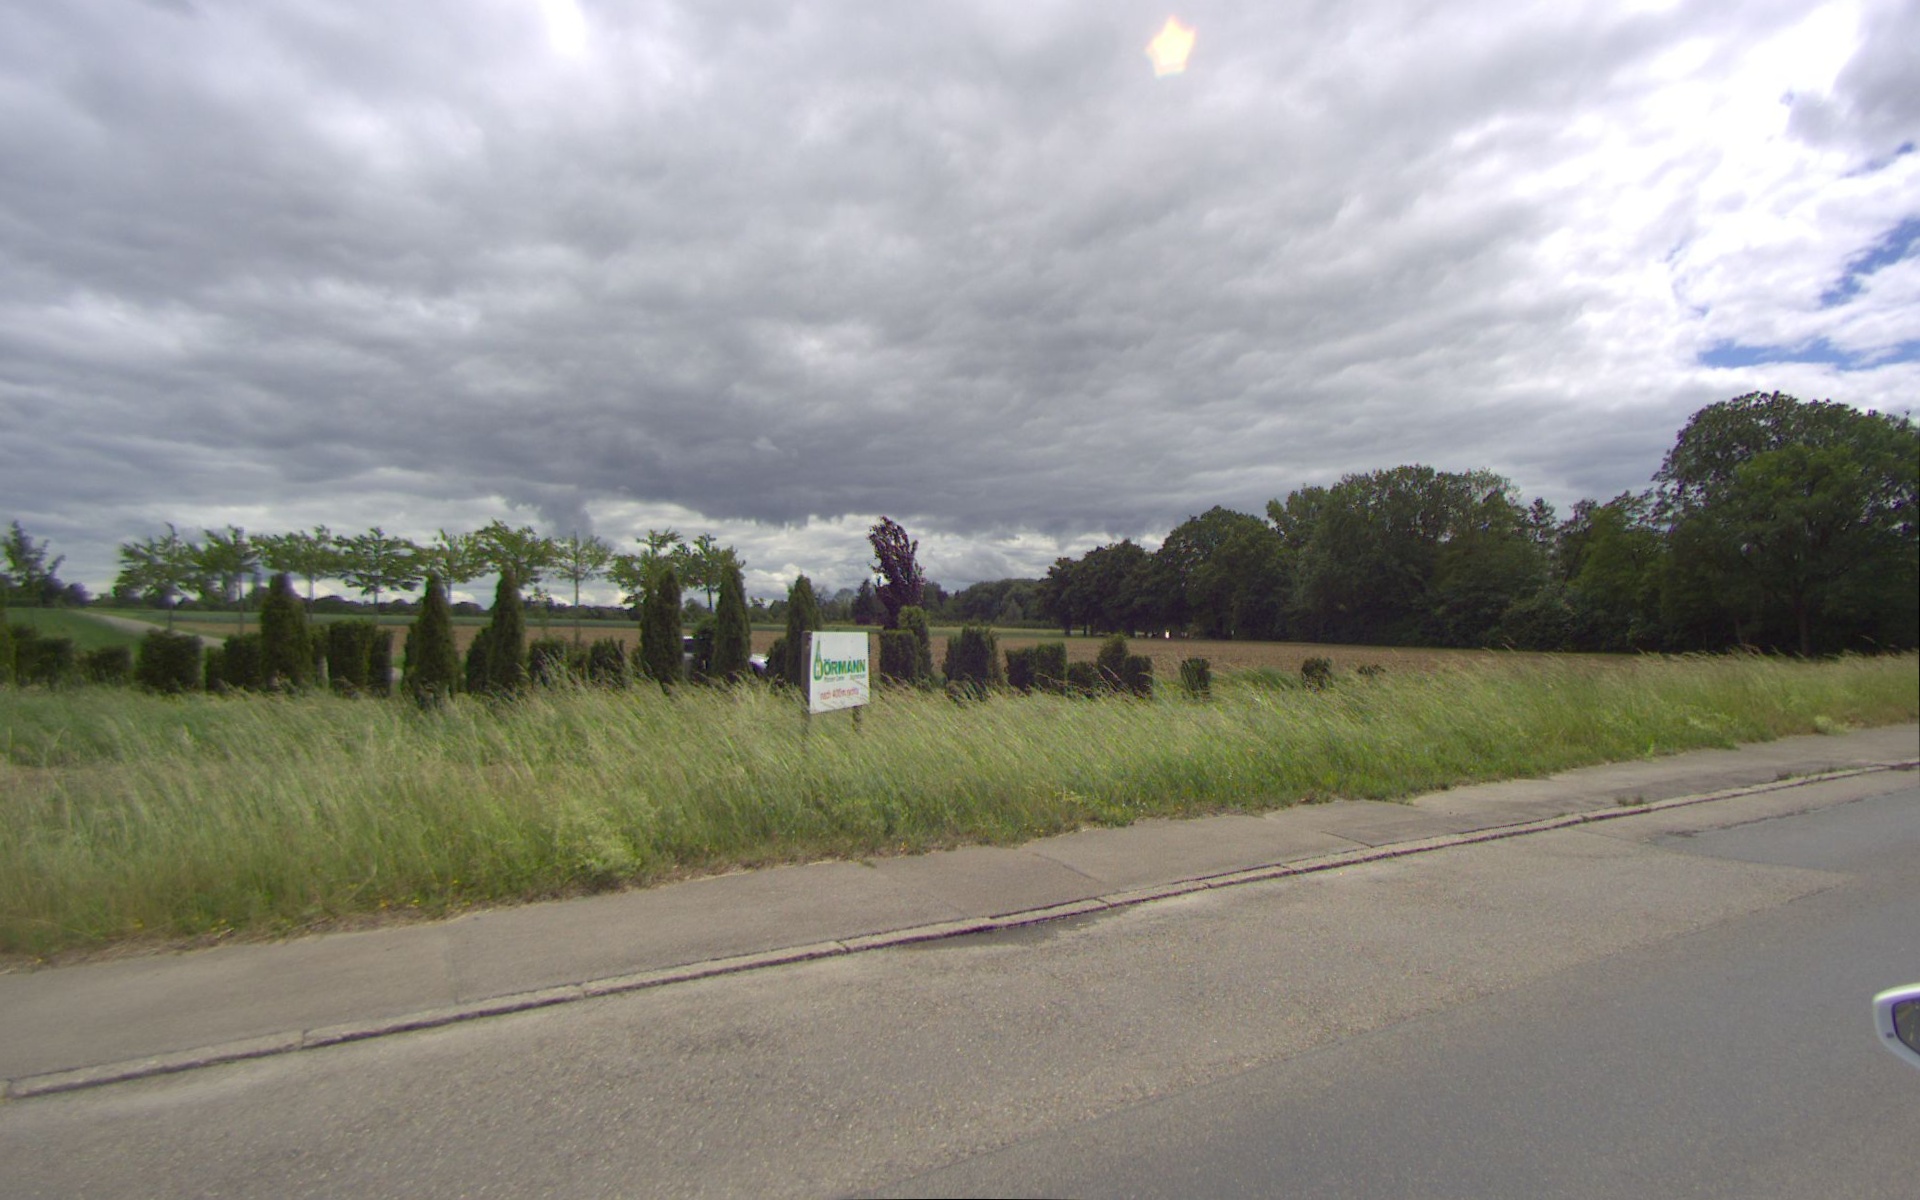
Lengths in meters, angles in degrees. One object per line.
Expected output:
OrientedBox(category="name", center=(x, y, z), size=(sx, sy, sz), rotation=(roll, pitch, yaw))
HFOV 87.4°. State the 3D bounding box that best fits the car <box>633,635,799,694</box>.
OrientedBox(category="car", center=(-6.500, 1.708, 27.092), size=(3.920, 1.473, 1.976), rotation=(0, -1, 3))
